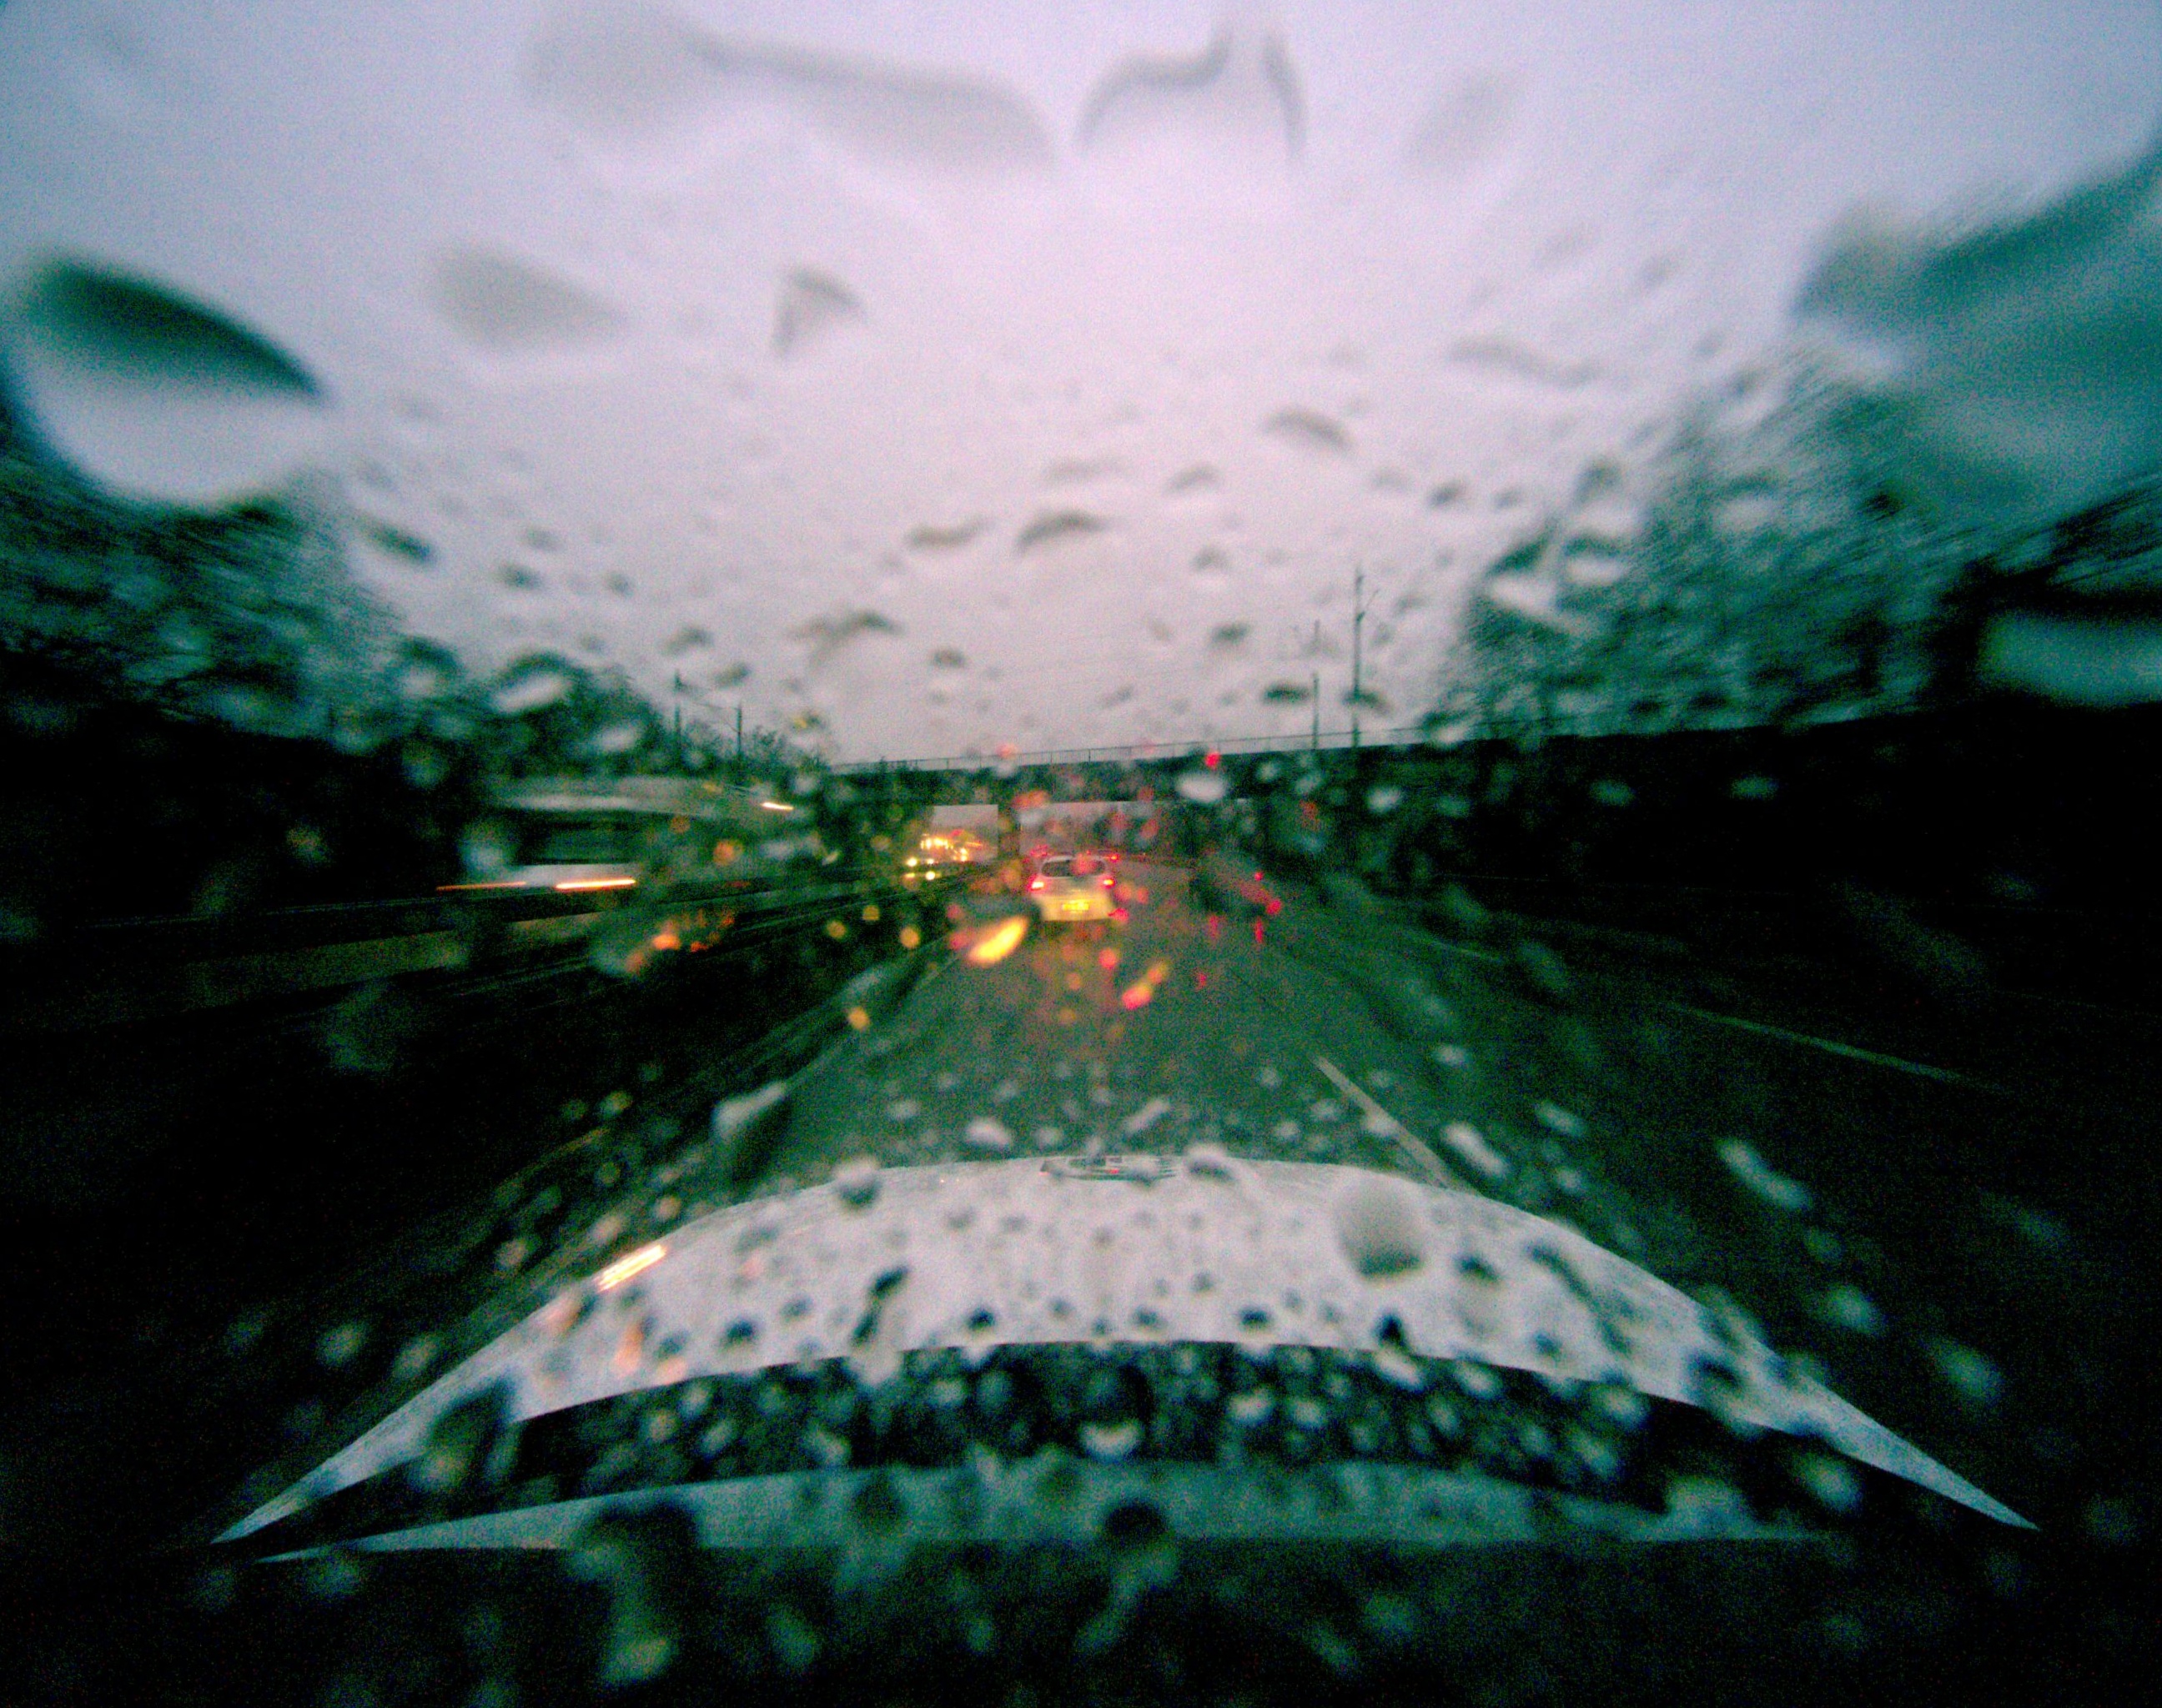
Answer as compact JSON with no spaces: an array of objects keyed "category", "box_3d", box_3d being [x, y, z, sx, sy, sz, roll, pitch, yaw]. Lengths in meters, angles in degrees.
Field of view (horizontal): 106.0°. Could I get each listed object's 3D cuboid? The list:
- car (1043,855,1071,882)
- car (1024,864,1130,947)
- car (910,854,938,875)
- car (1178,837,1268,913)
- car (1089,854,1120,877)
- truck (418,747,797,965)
[{"category":"car","box_3d":[-1.932,1.126,63.738,1.990,2.014,3.992,0,-1,-5]},{"category":"car","box_3d":[-0.037,1.013,17.487,2.018,1.575,4.000,0,-1,1]},{"category":"car","box_3d":[-13.121,0.829,68.089,1.578,1.670,4.293,-1,0,-2]},{"category":"car","box_3d":[4.020,0.597,23.685,1.927,2.019,3.771,0,-1,-1]},{"category":"car","box_3d":[1.917,1.004,66.595,1.931,1.546,3.764,-5,-3,-6]},{"category":"truck","box_3d":[-8.218,0.099,15.701,2.705,3.161,7.727,0,-1,0]}]
